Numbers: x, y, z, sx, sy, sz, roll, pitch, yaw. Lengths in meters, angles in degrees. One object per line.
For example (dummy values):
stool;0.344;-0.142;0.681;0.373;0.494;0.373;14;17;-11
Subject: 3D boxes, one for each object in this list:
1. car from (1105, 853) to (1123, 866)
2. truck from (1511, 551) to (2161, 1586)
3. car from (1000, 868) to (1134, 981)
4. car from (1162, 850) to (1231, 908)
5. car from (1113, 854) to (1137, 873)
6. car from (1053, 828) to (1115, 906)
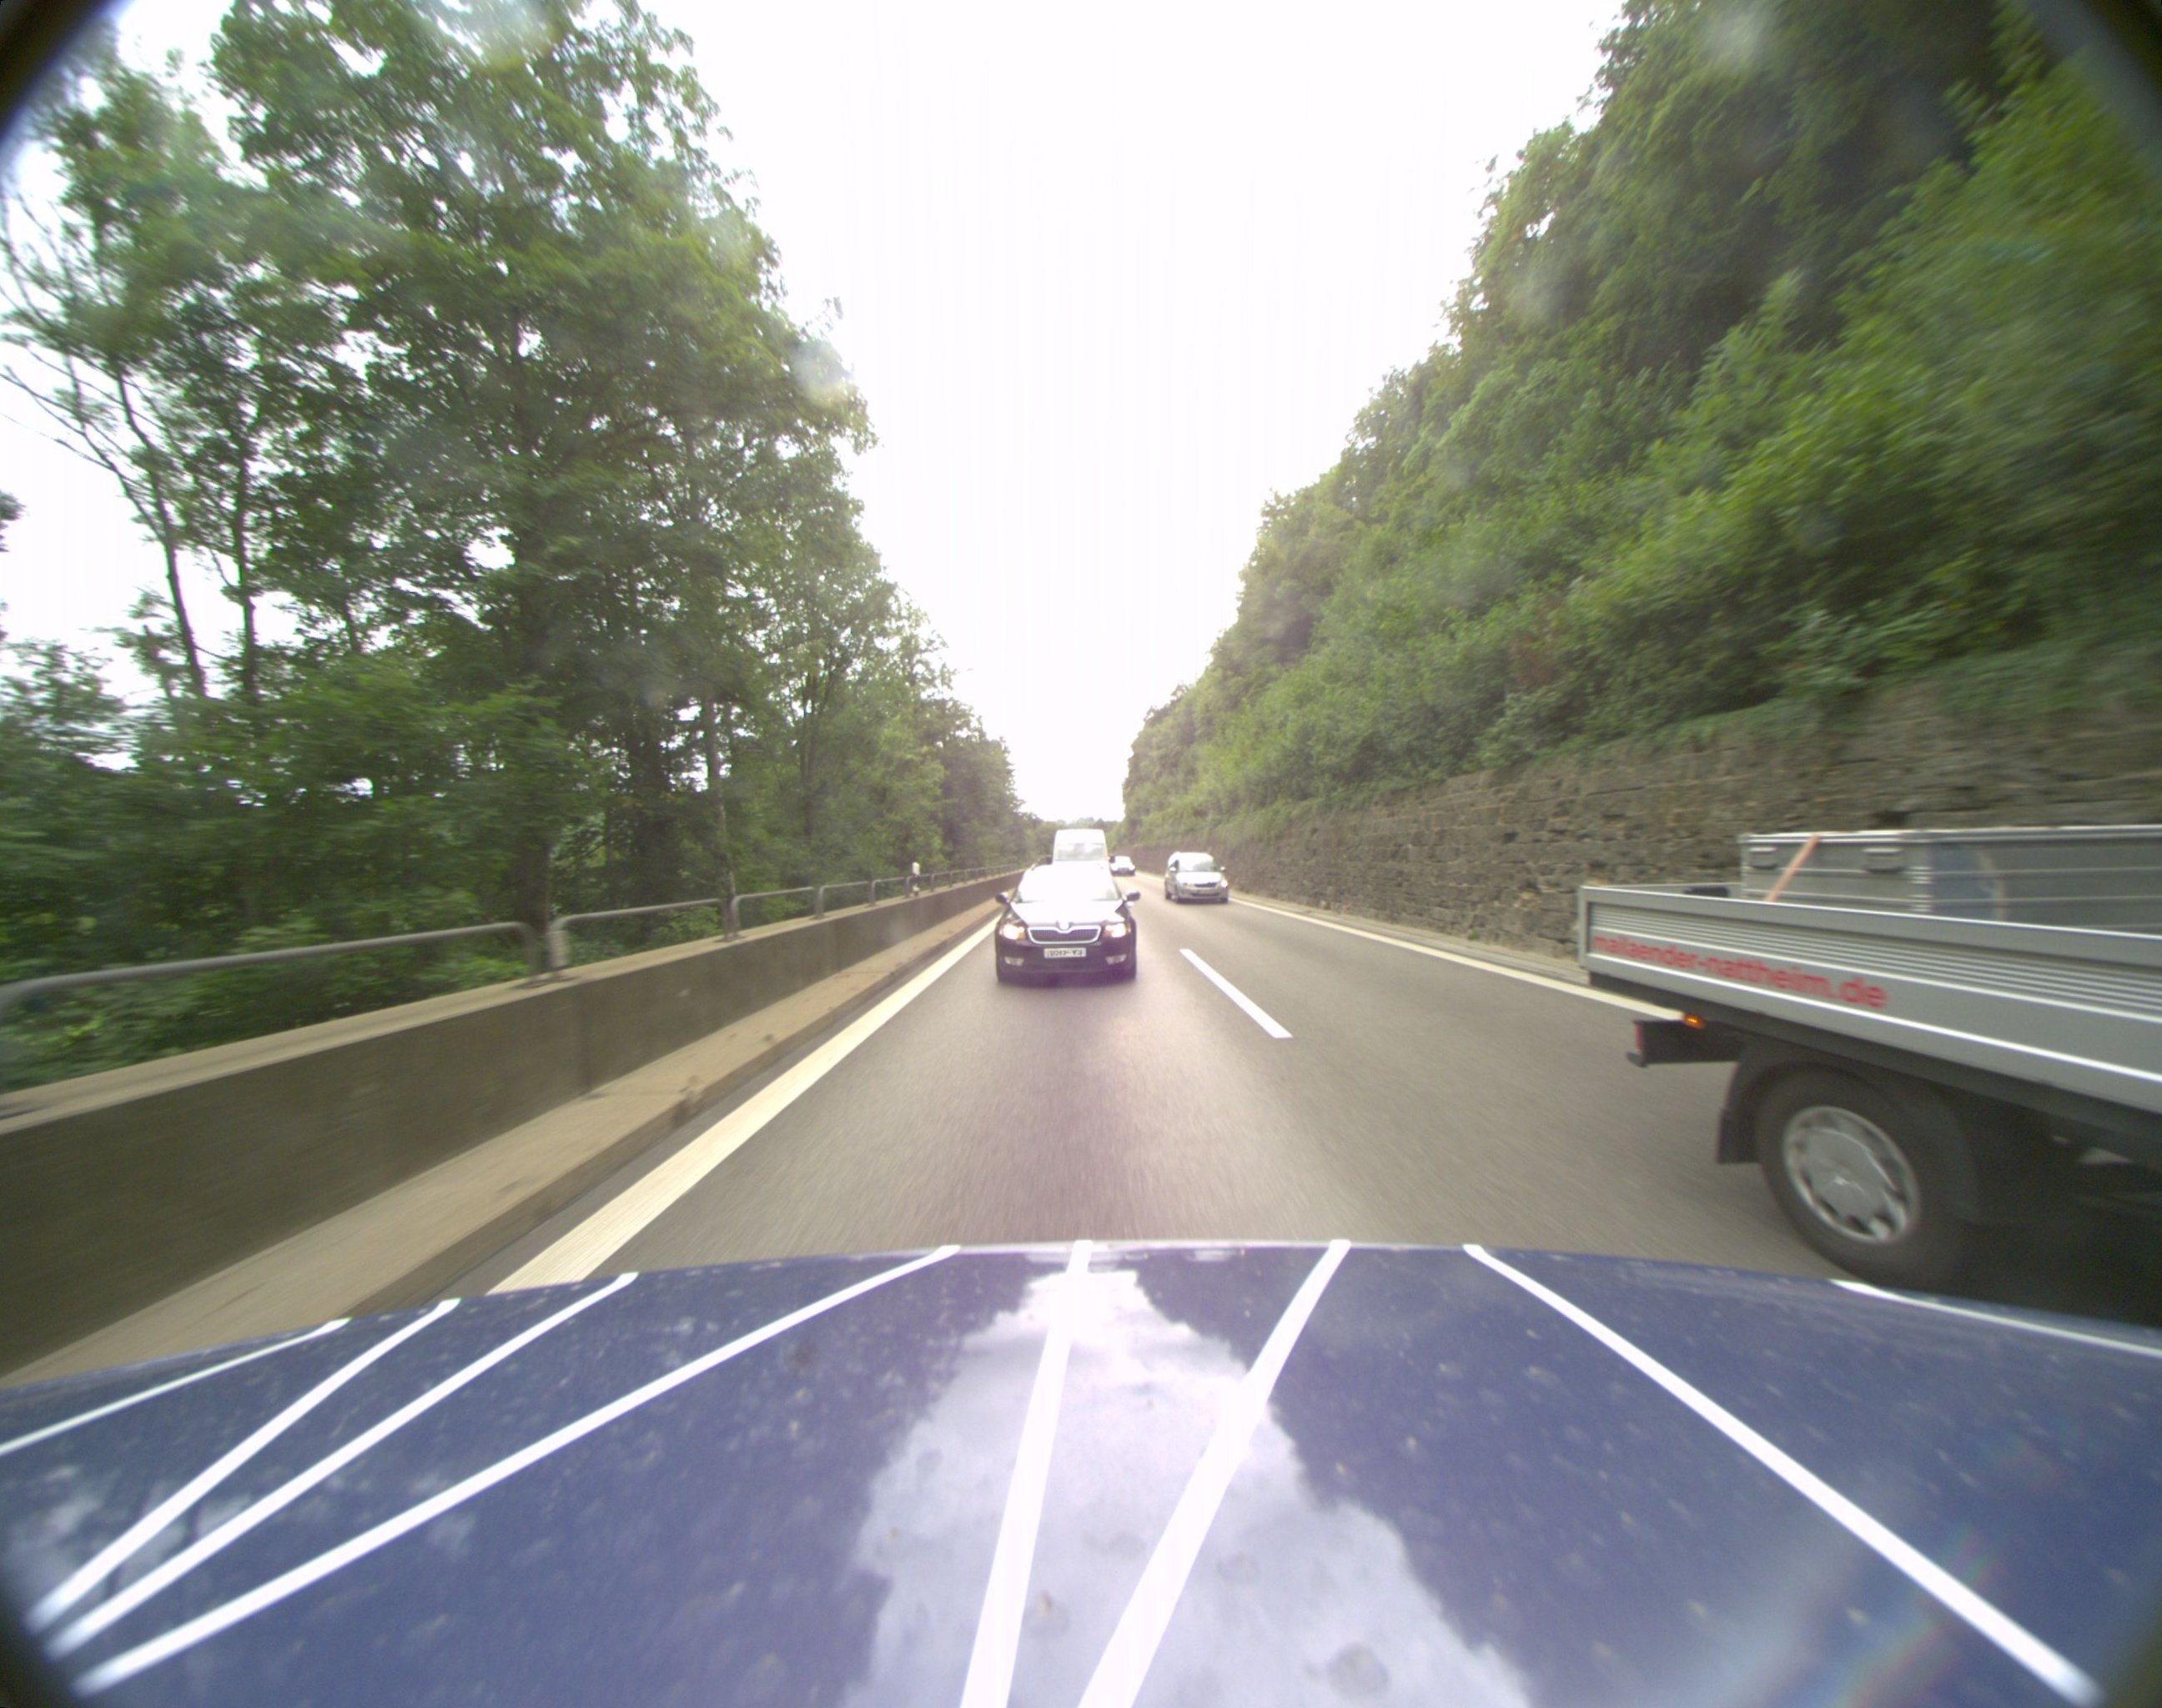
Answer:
car;3.864;0.683;89.723;1.840;1.460;4.554;0;0;0
truck;3.533;0.451;0.631;2.355;2.261;6.847;-2;1;-1
car;-0.263;0.980;12.343;1.751;1.409;4.400;-2;0;-2
car;3.750;0.747;25.260;1.638;1.716;4.344;-1;0;0
car;3.420;0.762;60.222;1.765;1.455;5.123;0;0;2
car;0.110;0.421;27.541;2.001;2.545;5.127;0;0;0
